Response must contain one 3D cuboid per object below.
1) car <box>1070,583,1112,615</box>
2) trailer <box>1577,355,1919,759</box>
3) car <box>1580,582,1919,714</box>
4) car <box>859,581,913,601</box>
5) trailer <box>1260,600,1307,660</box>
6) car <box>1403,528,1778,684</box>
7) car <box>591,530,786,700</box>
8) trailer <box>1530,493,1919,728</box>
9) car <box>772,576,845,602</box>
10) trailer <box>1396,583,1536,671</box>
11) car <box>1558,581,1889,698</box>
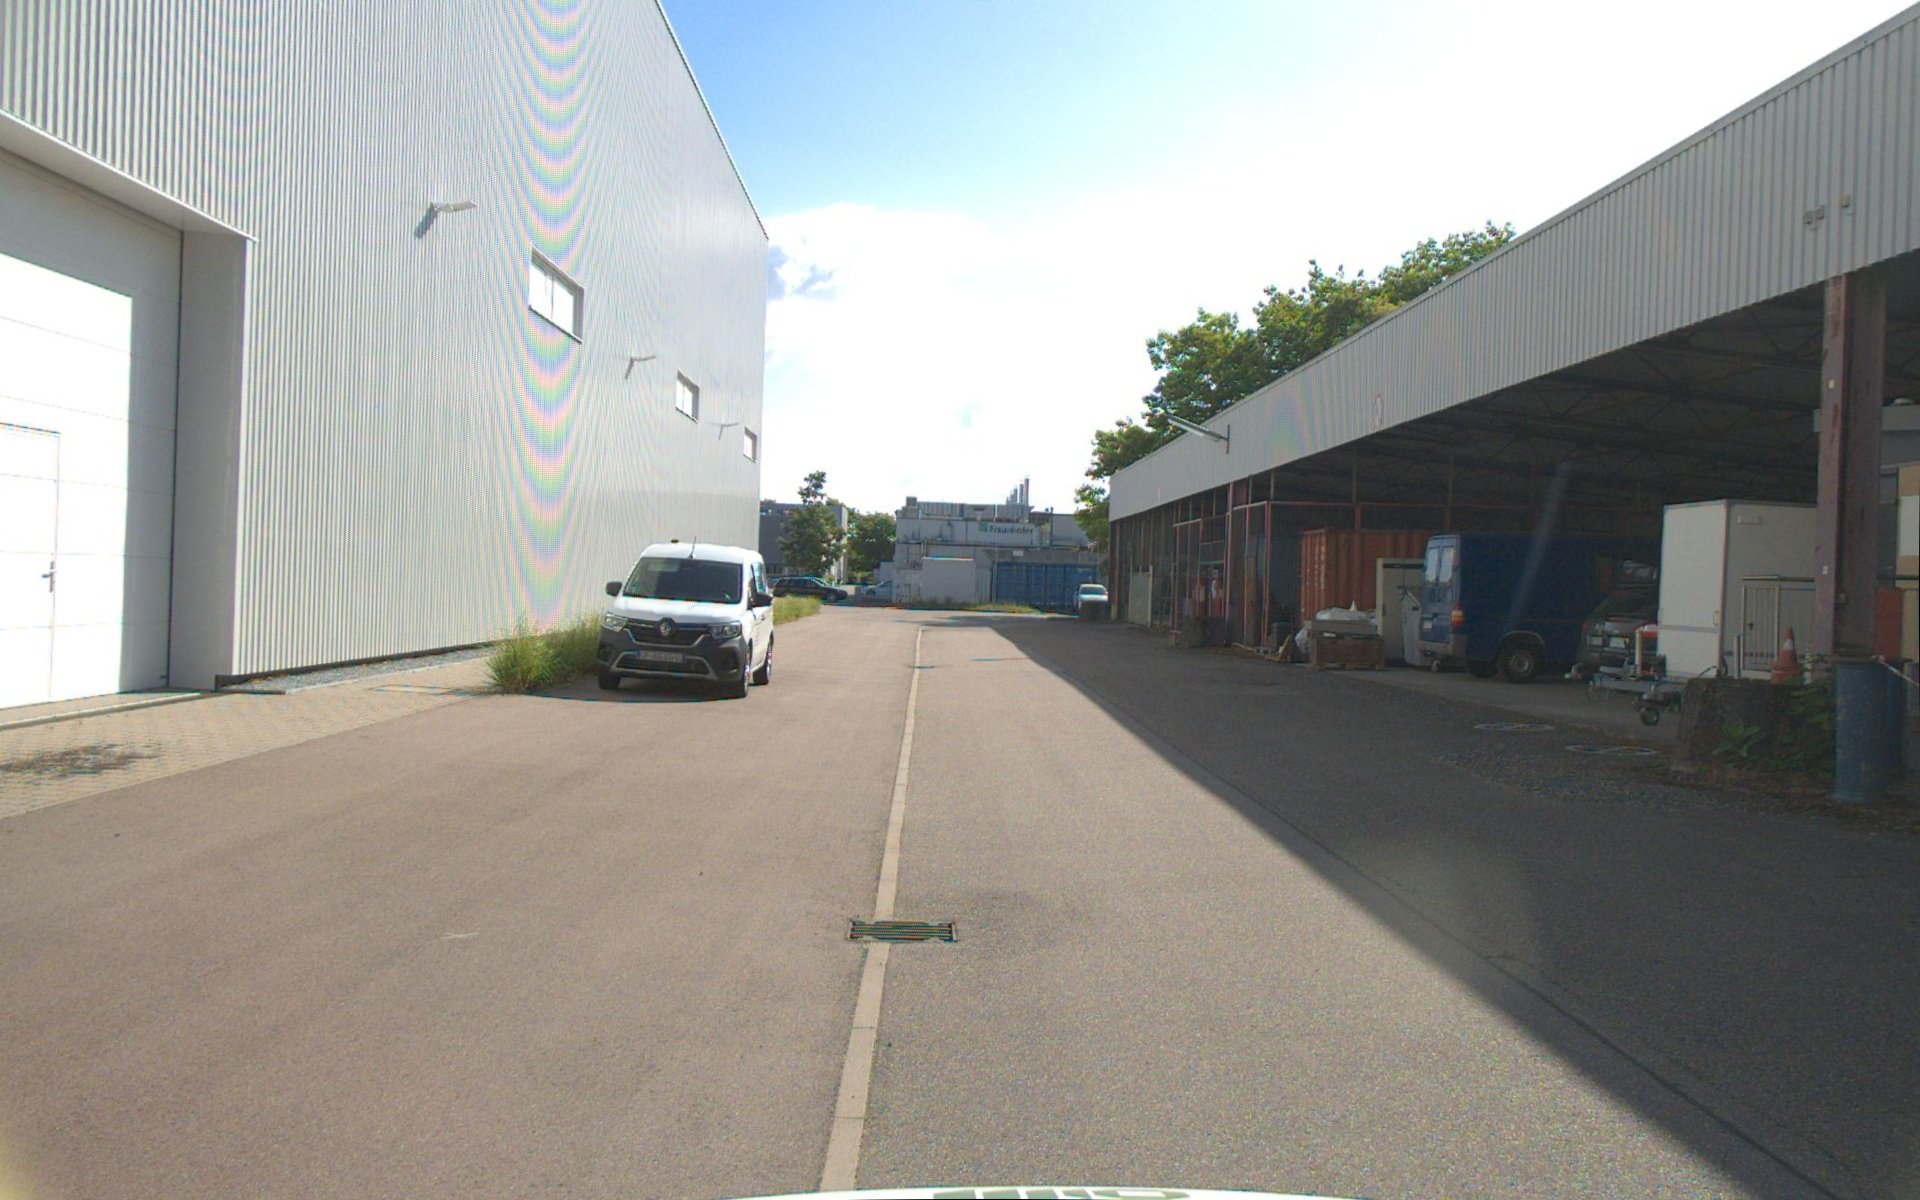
[{"bbox_3d":[7.170,-0.077,90.968,1.939,1.630,4.378,0,2,0],"label":"car"},{"bbox_3d":[11.316,-0.353,15.476,10.059,3.401,2.801,0,0,-1],"label":"trailer"},{"bbox_3d":[10.127,0.573,20.505,4.164,1.497,1.868,1,1,-4],"label":"car"},{"bbox_3d":[-5.867,-0.713,130.994,4.216,1.483,1.823,1,0,-2],"label":"car"},{"bbox_3d":[6.328,0.571,32.373,0.541,1.138,1.546,0,0,-3],"label":"trailer"},{"bbox_3d":[10.092,0.099,26.742,5.225,2.321,2.152,1,0,-2],"label":"car"},{"bbox_3d":[-3.346,0.168,21.200,1.747,1.847,4.600,3,0,-1],"label":"car"},{"bbox_3d":[8.739,0.108,17.911,4.424,2.383,2.047,0,0,0],"label":"trailer"},{"bbox_3d":[-9.419,-0.684,103.006,4.358,1.557,1.823,1,0,-2],"label":"car"},{"bbox_3d":[8.931,0.456,29.328,1.996,1.492,1.739,0,0,3],"label":"trailer"},{"bbox_3d":[10.817,0.545,23.608,3.886,1.540,1.838,1,0,-4],"label":"car"}]
